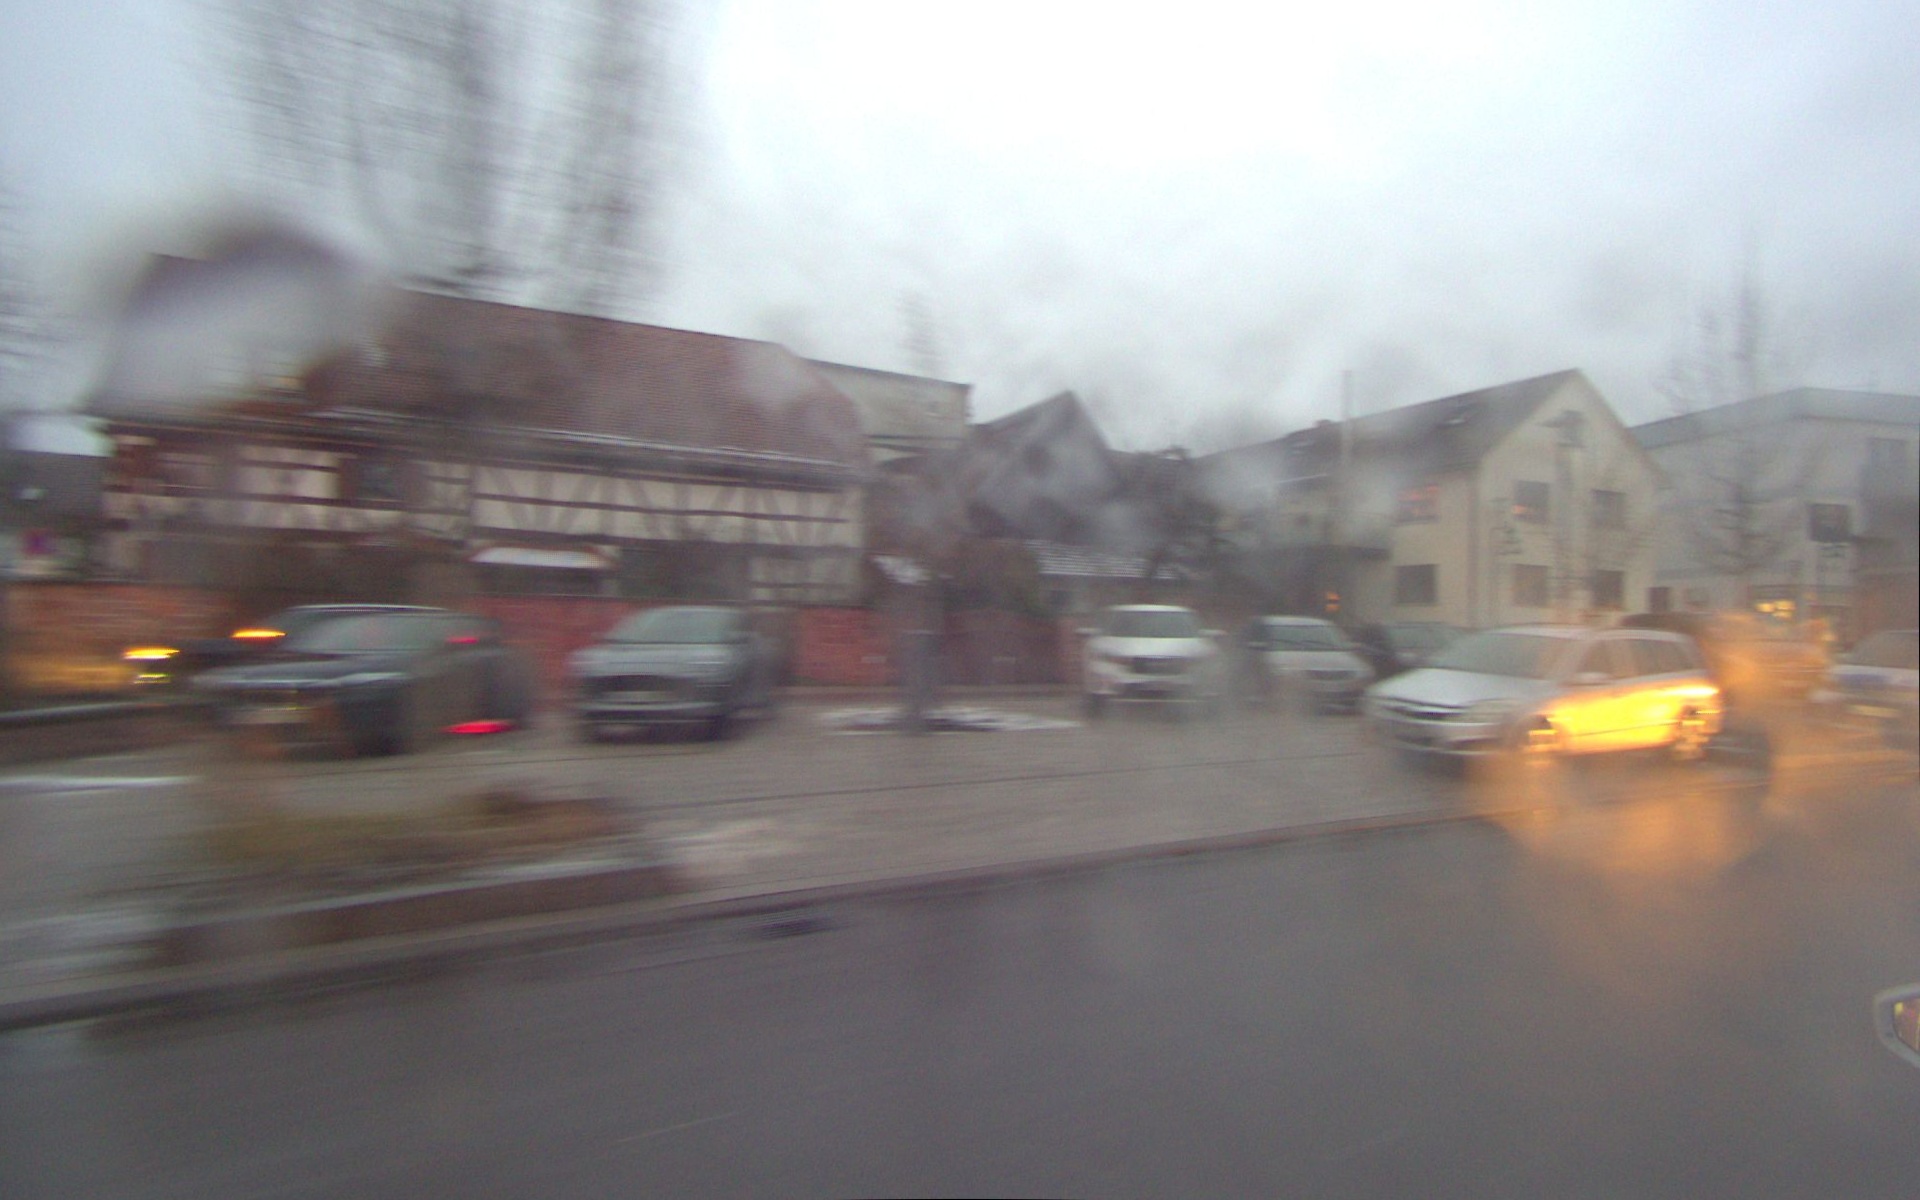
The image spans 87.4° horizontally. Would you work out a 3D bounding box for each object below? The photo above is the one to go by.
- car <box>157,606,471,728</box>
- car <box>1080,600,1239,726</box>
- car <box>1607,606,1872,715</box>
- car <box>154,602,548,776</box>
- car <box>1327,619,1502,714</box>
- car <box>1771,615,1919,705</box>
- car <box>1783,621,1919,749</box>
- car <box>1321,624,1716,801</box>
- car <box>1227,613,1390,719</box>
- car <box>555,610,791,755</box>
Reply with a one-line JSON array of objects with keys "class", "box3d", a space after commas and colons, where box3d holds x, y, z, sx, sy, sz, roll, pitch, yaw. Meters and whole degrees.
[{"class": "car", "box3d": [-10.041, 1.005, 16.007, 3.945, 1.751, 1.710, 1, -1, -25]}, {"class": "car", "box3d": [2.976, 0.942, 15.905, 1.948, 1.675, 4.659, 1, -2, 5]}, {"class": "car", "box3d": [15.522, 1.214, 20.494, 2.032, 1.910, 5.402, -1, -3, 11]}, {"class": "car", "box3d": [-6.076, 0.848, 10.661, 1.727, 1.478, 3.935, -1, -2, 1]}, {"class": "car", "box3d": [8.232, 1.145, 18.622, 1.959, 1.550, 4.003, 0, -1, 9]}, {"class": "car", "box3d": [21.103, 1.343, 22.972, 1.729, 1.929, 3.717, 0, -2, -11]}, {"class": "car", "box3d": [13.197, 1.092, 13.563, 3.625, 1.556, 1.828, 1, -1, -24]}, {"class": "car", "box3d": [6.052, 1.045, 10.801, 4.207, 1.554, 1.895, 1, -1, -31]}, {"class": "car", "box3d": [5.832, 1.104, 17.322, 1.686, 1.603, 4.117, 0, -3, 5]}, {"class": "car", "box3d": [-3.294, 0.917, 12.383, 1.723, 1.478, 4.075, 1, -2, 0]}]
